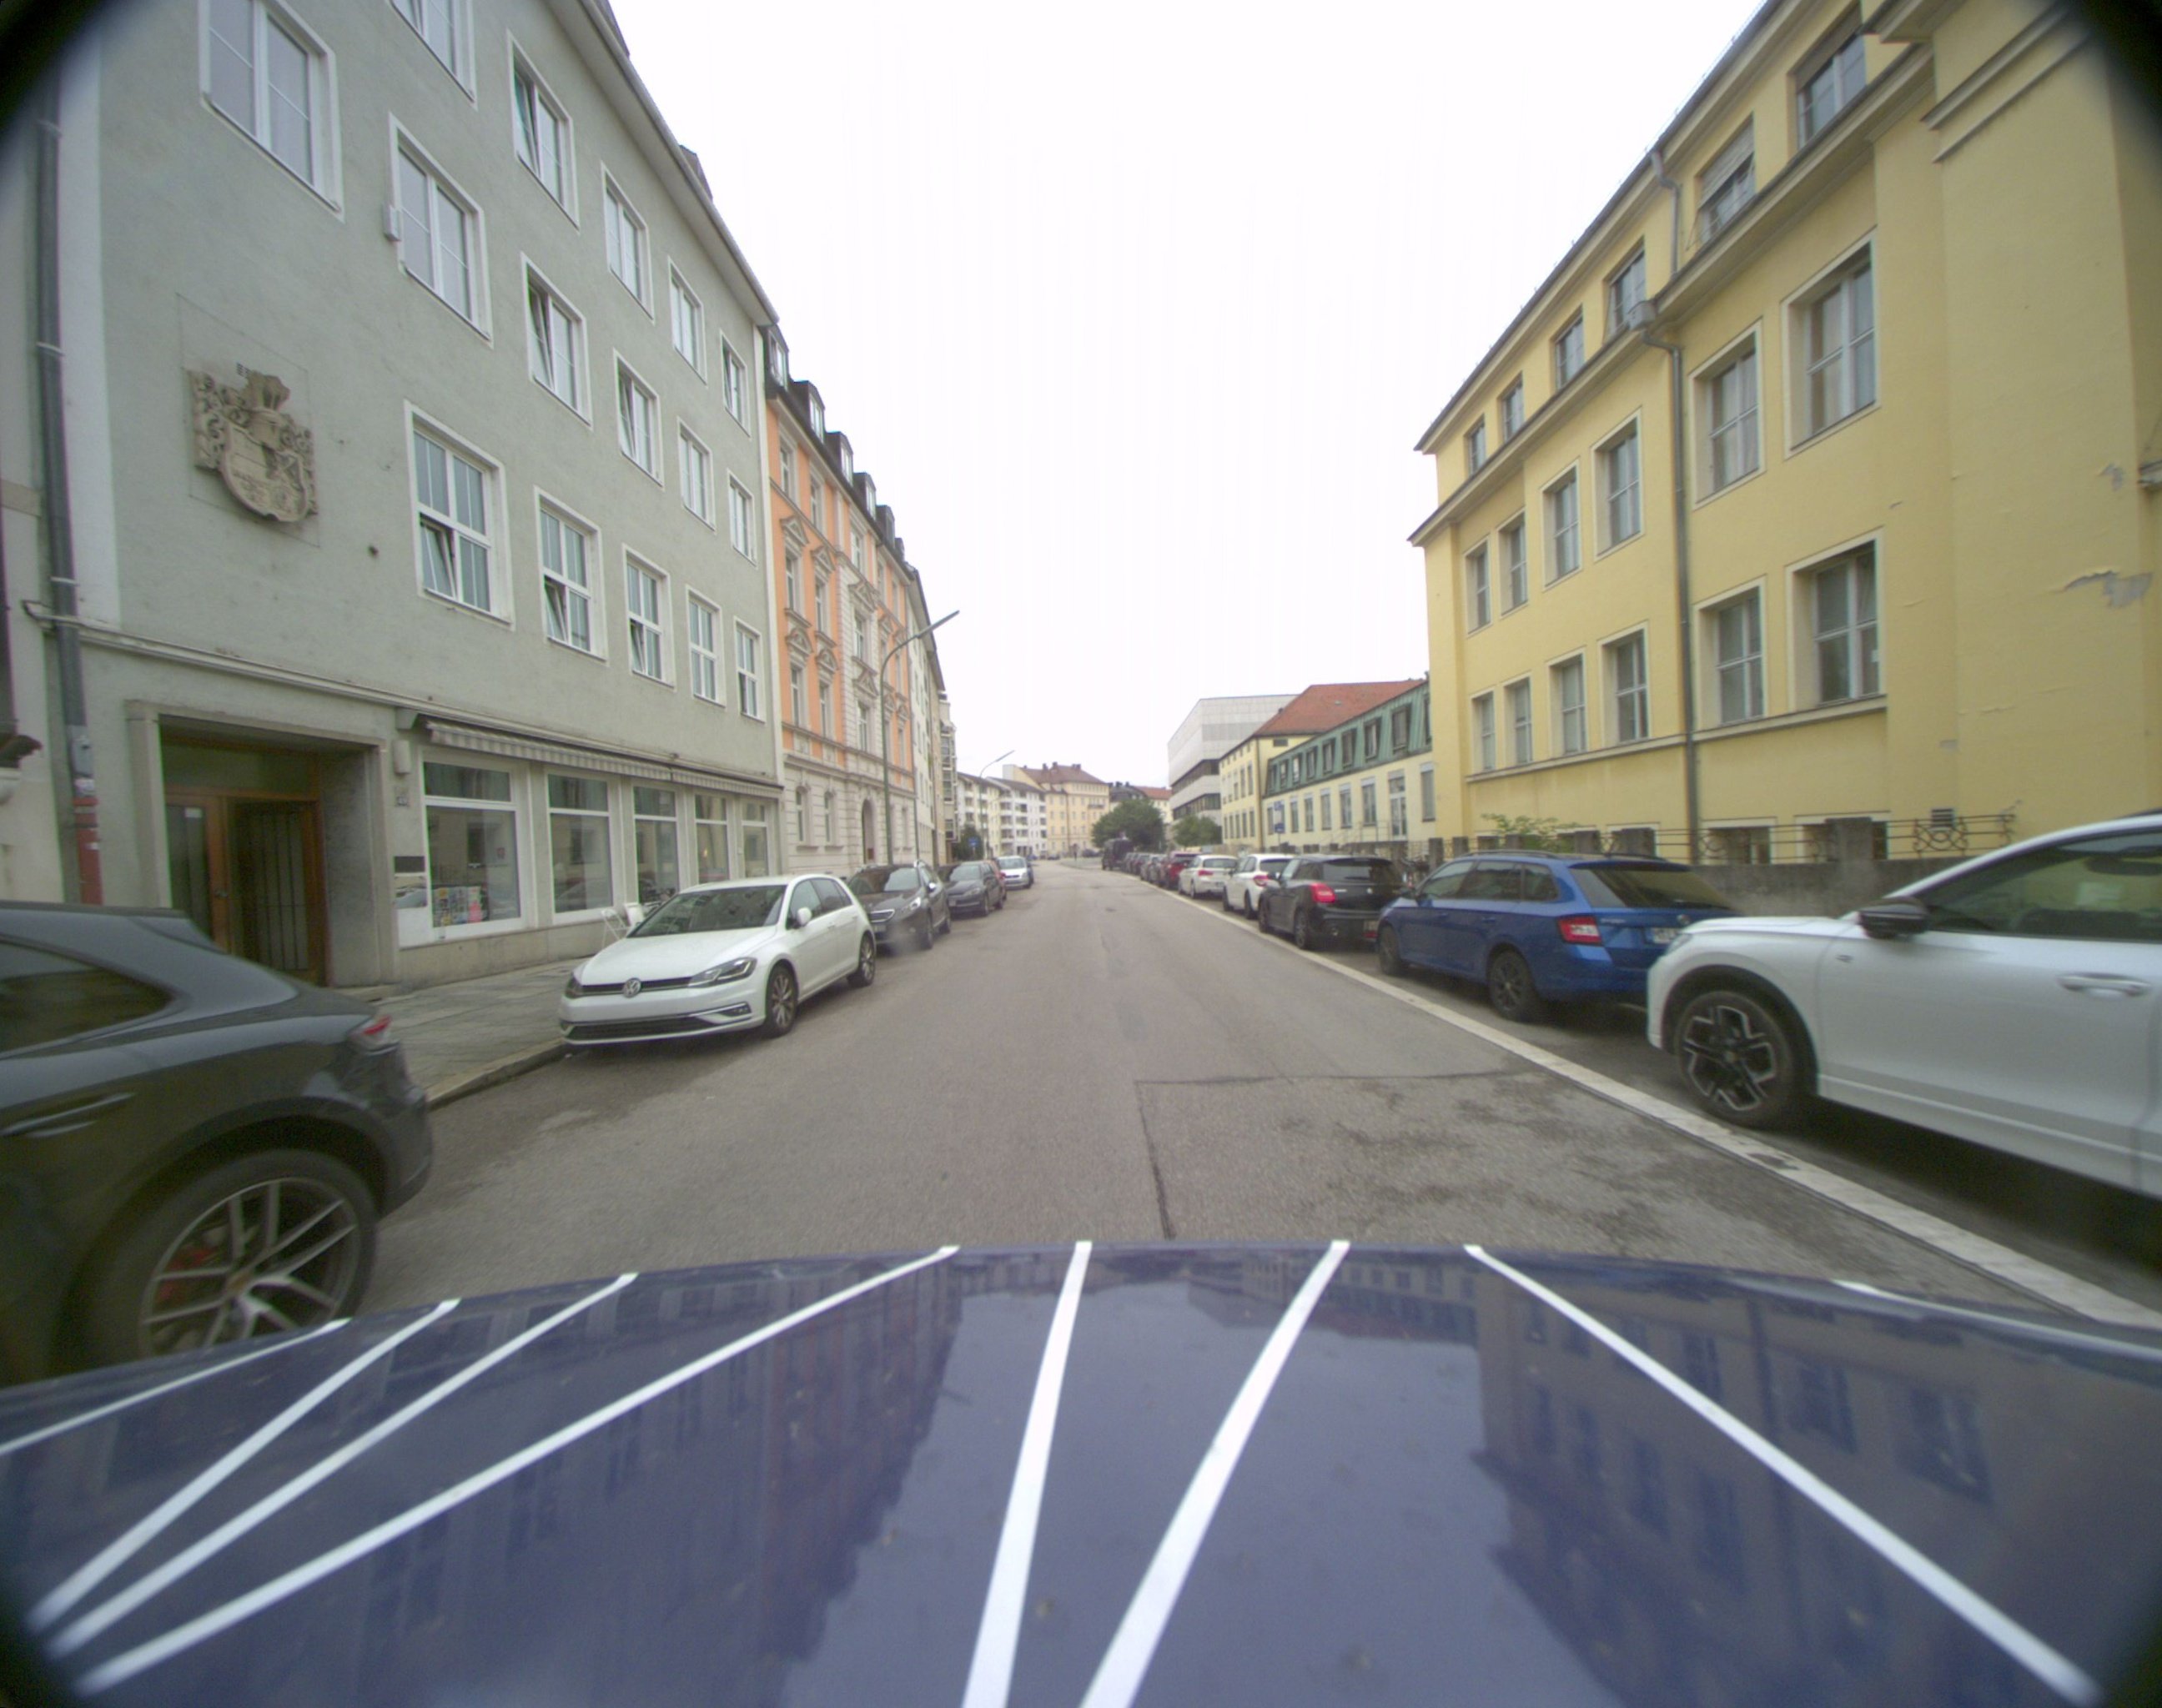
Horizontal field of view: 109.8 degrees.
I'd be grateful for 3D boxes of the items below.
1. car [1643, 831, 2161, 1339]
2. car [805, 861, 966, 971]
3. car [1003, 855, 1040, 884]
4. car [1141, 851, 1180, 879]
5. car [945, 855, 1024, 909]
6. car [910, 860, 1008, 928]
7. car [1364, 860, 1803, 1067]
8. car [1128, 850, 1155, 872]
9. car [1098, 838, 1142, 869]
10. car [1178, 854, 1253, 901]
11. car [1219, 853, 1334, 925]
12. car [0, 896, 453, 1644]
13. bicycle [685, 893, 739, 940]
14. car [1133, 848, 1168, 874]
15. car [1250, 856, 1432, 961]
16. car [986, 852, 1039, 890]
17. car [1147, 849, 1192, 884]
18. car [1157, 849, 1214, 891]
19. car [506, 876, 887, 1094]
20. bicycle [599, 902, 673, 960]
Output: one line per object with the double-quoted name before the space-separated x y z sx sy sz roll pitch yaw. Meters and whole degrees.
"car" 4.381 0.762 2.457 1.786 1.631 4.298 1 1 -2
"car" -3.426 1.007 14.137 1.768 1.531 4.000 -5 1 1
"car" -3.266 0.836 42.177 1.673 1.419 3.947 -1 1 1
"car" 4.254 0.558 41.140 1.673 1.419 3.947 -1 1 0
"car" -3.325 0.919 27.095 2.001 1.563 4.491 -5 1 1
"car" -3.177 0.990 20.603 1.725 1.458 4.192 -5 1 2
"car" 4.409 0.822 7.514 1.611 1.438 3.916 1 1 -2
"car" 4.476 0.476 56.424 1.673 1.509 3.947 -1 1 0
"car" 3.392 -0.075 67.845 2.848 2.537 6.888 -2 1 -6
"car" 4.421 0.728 25.505 1.816 1.390 4.019 0 1 0
"car" 4.461 0.733 17.962 1.690 1.438 4.112 0 1 0
"car" -3.373 1.024 0.593 1.831 1.572 4.491 -4 1 2
"bicycle" -7.751 1.289 16.011 0.369 0.835 1.474 -2 1 1
"car" 4.654 0.445 51.488 1.998 1.631 4.209 -1 1 0
"car" 4.111 0.778 12.681 1.738 1.431 3.779 1 1 0
"car" -3.265 0.787 37.080 2.001 1.563 4.490 -5 1 0
"car" 4.193 0.566 36.517 1.673 1.509 3.947 -1 1 0
"car" 4.230 0.596 31.242 1.774 1.546 4.209 1 1 0
"car" -3.504 1.072 7.964 1.745 1.422 4.181 -4 1 1
"bicycle" -7.775 1.320 13.332 0.369 0.835 1.474 -2 1 1
